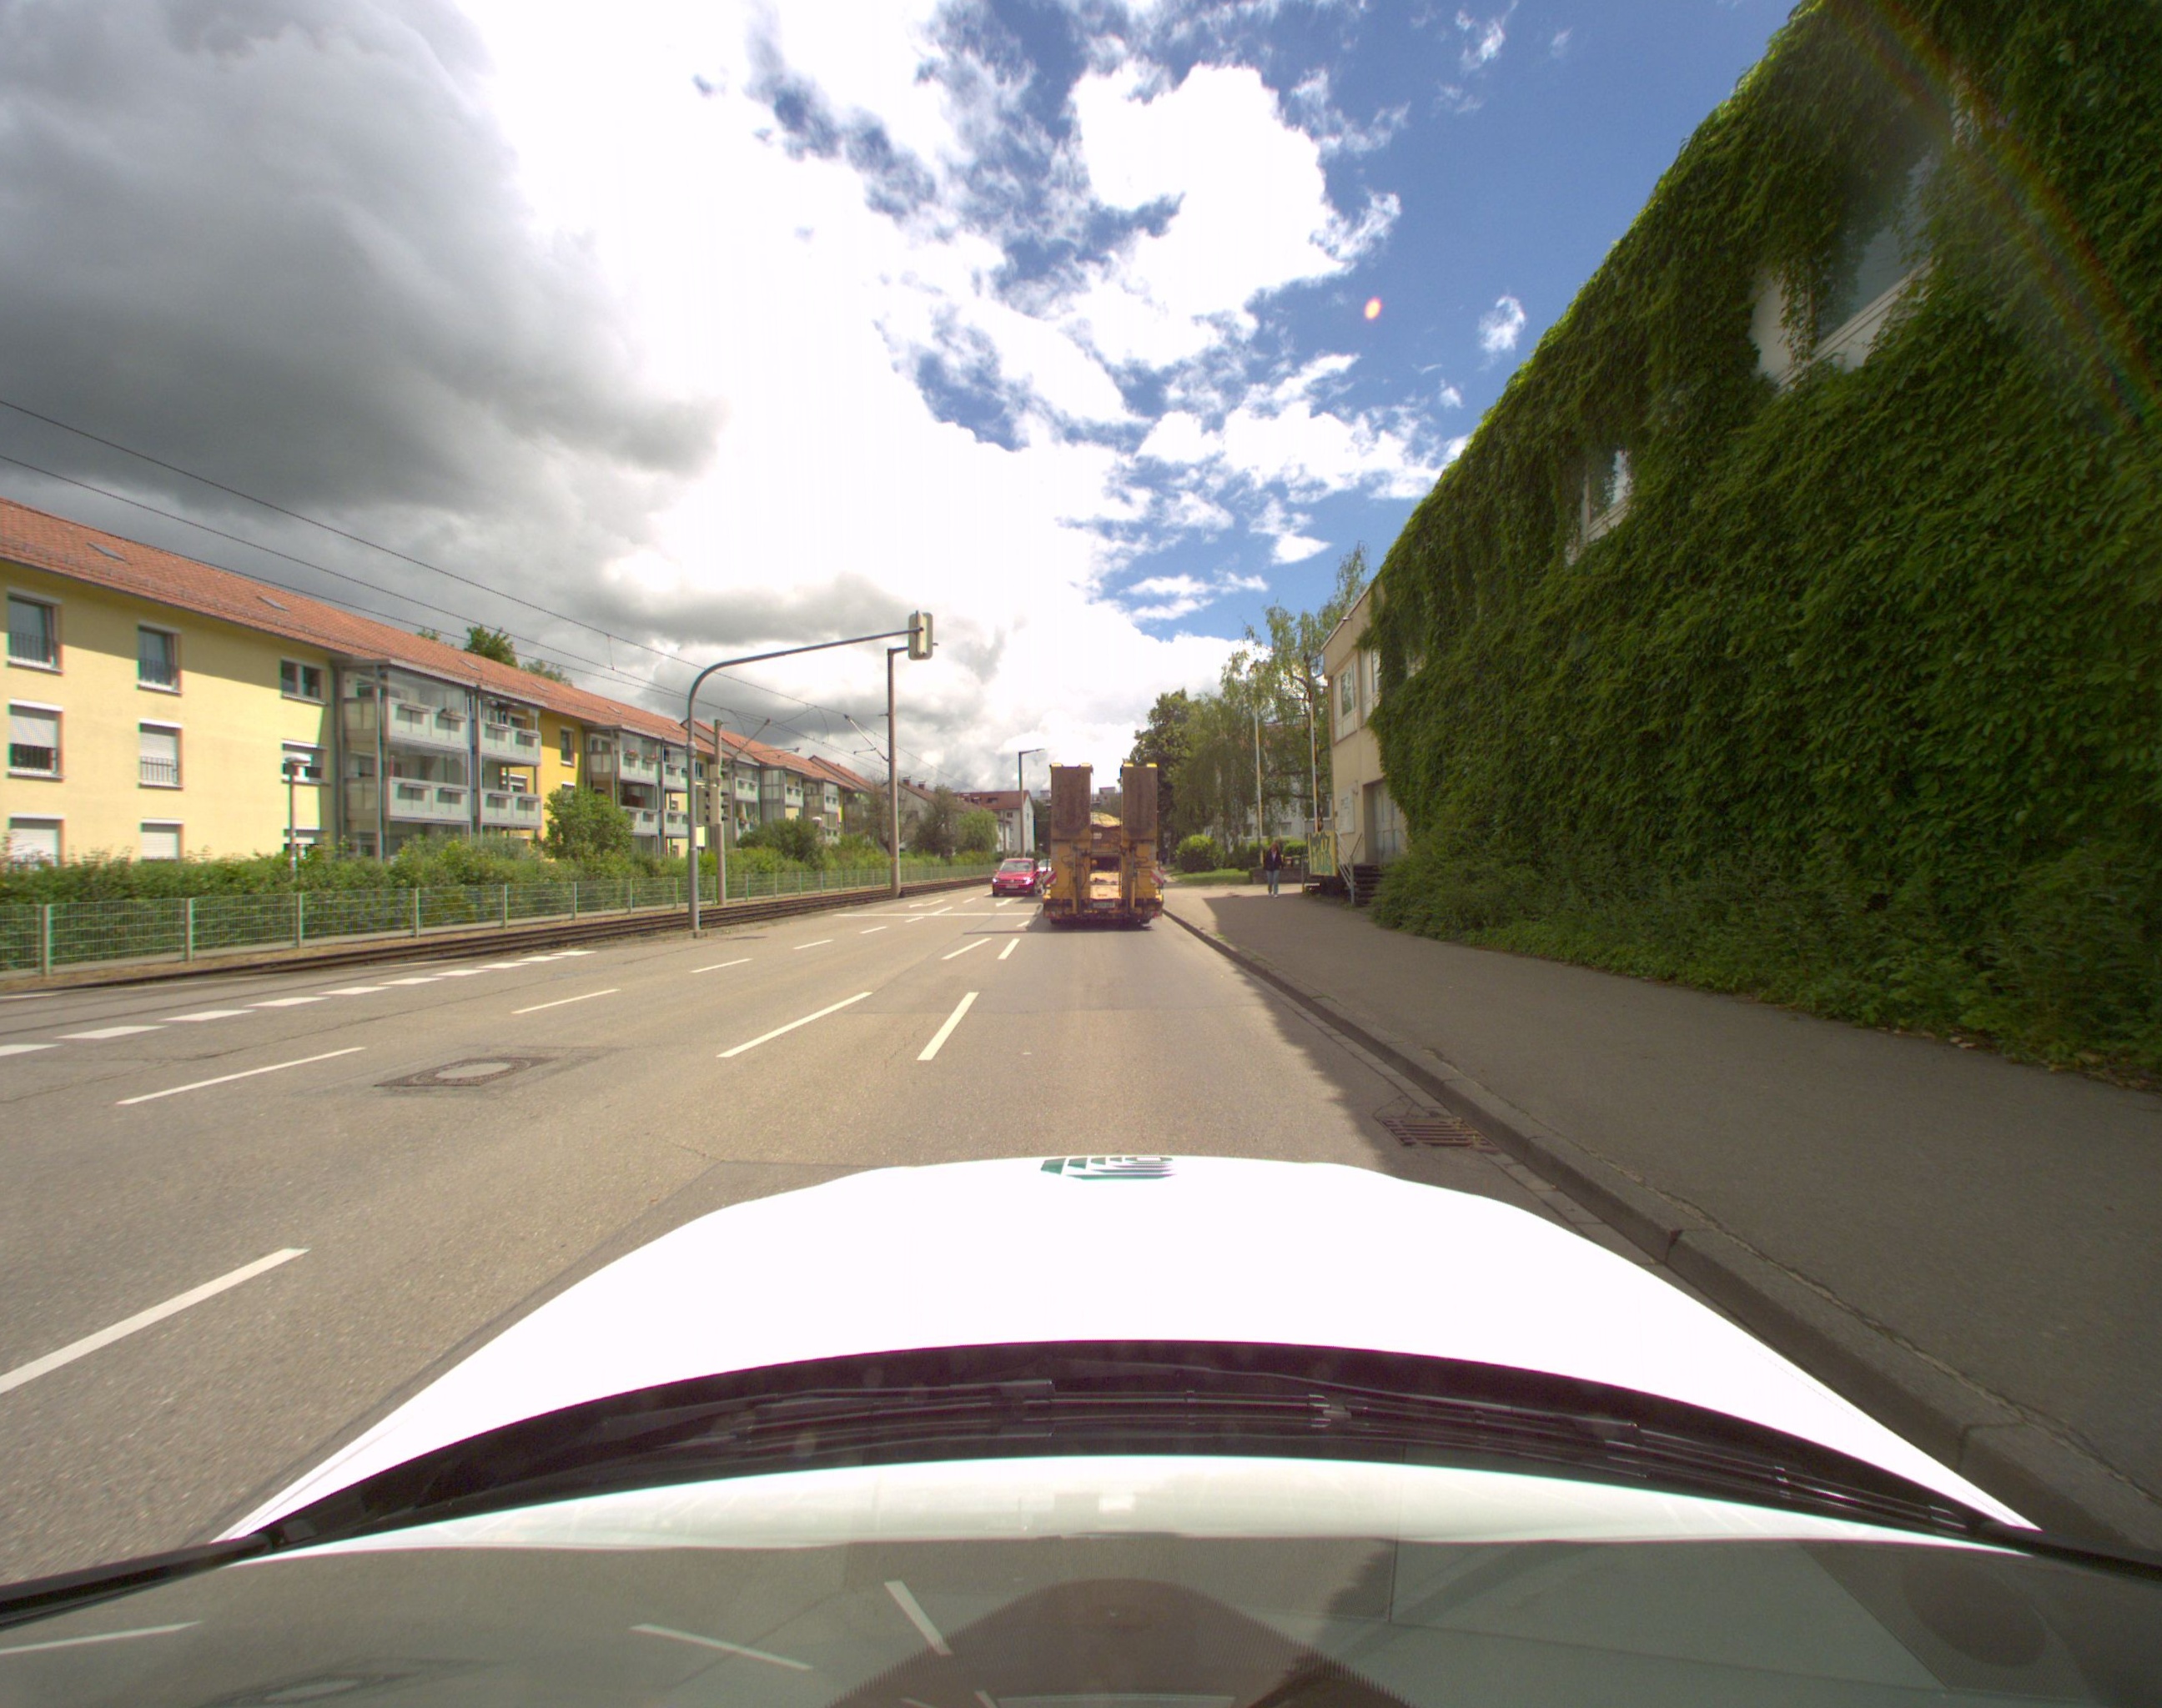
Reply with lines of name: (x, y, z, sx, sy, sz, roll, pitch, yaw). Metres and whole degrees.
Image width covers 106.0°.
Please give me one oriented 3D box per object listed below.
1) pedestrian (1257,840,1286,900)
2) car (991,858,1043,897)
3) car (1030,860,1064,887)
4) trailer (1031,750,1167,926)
pedestrian: (5.785, 0.480, 24.734, 0.804, 1.771, 0.819, 0, -1, 10)
car: (-2.620, 0.941, 34.217, 1.656, 1.552, 4.003, 0, -1, 3)
car: (-2.027, 1.145, 49.590, 1.754, 1.552, 4.001, -1, -1, 2)
trailer: (0.324, -0.280, 23.114, 2.818, 3.646, 12.349, 0, -1, 0)
